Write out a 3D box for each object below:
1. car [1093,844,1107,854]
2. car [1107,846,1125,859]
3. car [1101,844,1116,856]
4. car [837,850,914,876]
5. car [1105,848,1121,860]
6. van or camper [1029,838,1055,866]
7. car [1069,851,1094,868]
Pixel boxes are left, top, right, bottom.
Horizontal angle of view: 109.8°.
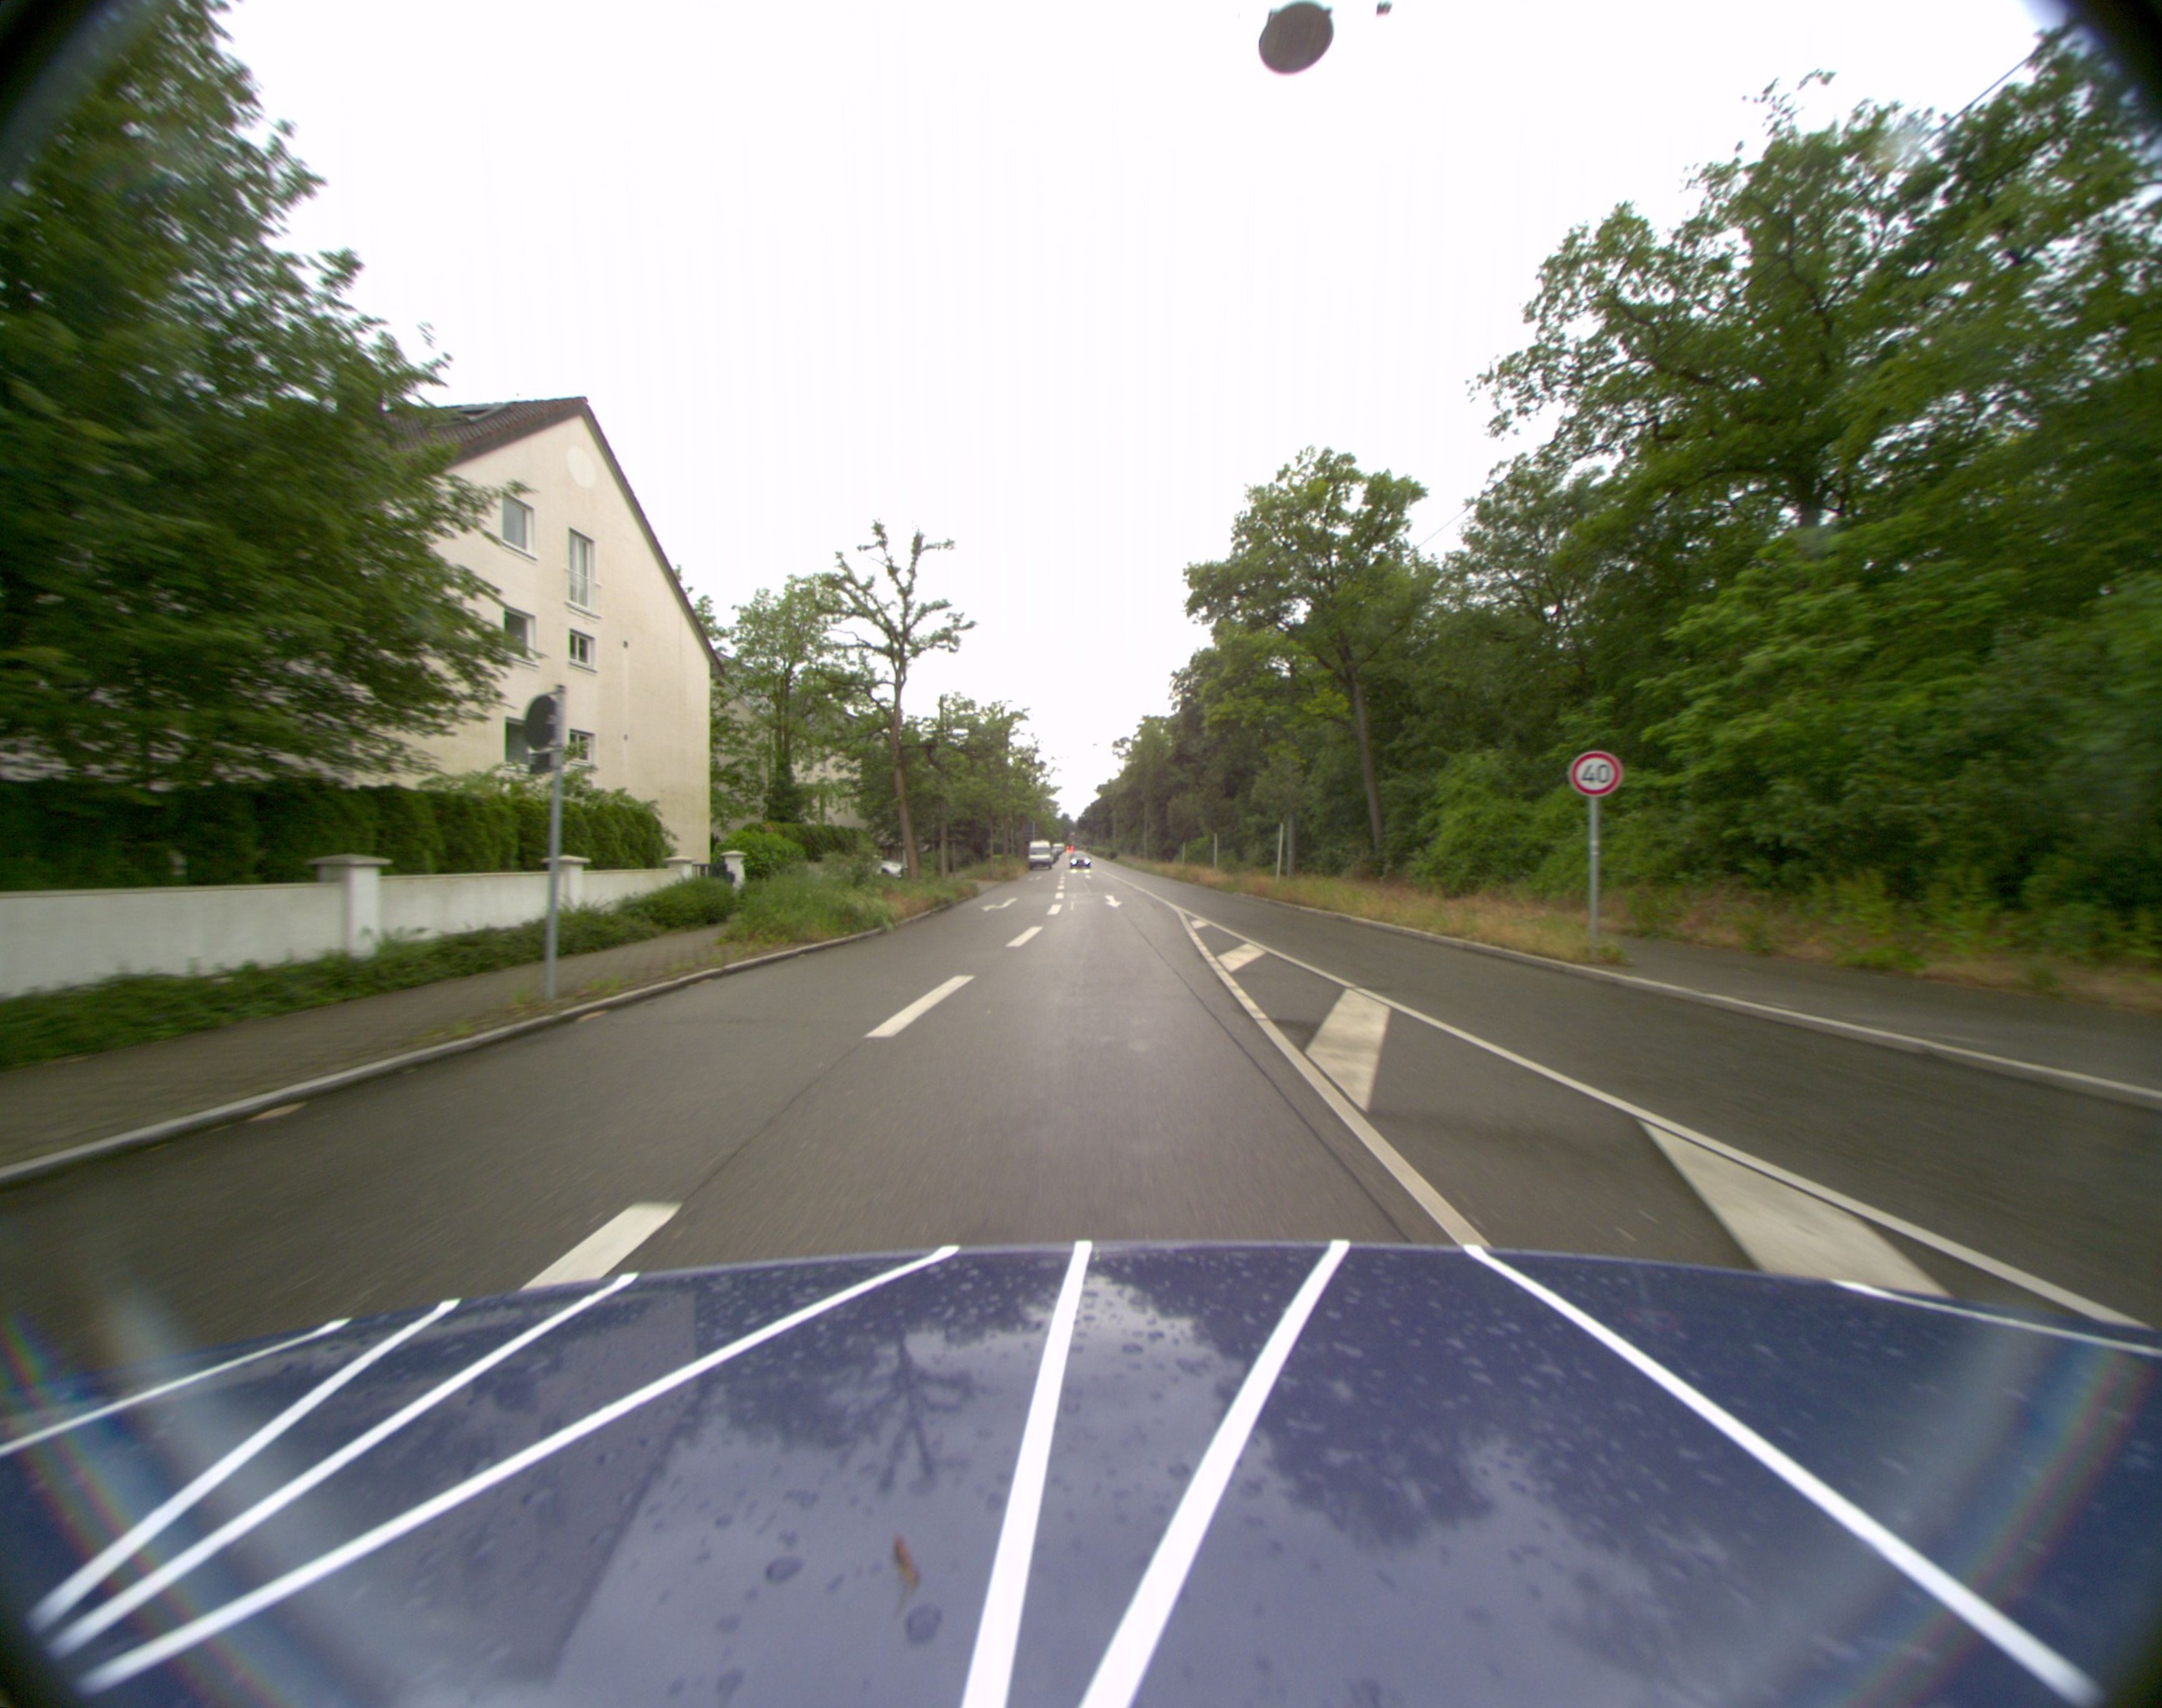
[{"bbox_3d":[3.157,-0.756,126.695,1.945,1.594,4.602,1,0,-2],"label":"car"},{"bbox_3d":[4.400,-0.162,97.150,1.945,1.594,4.602,1,0,-2],"label":"car"},{"bbox_3d":[4.018,-0.582,112.034,1.945,1.594,4.602,1,0,-2],"label":"car"},{"bbox_3d":[-10.887,0.476,40.323,3.633,1.357,1.537,0,1,8],"label":"car"},{"bbox_3d":[4.409,-0.045,105.704,1.945,1.594,4.602,1,0,-2],"label":"car"},{"bbox_3d":[-3.401,-0.176,67.810,1.998,2.438,4.721,0,1,1],"label":"van or camper"},{"bbox_3d":[0.009,0.502,68.790,1.945,1.446,4.602,1,0,-3],"label":"car"}]
